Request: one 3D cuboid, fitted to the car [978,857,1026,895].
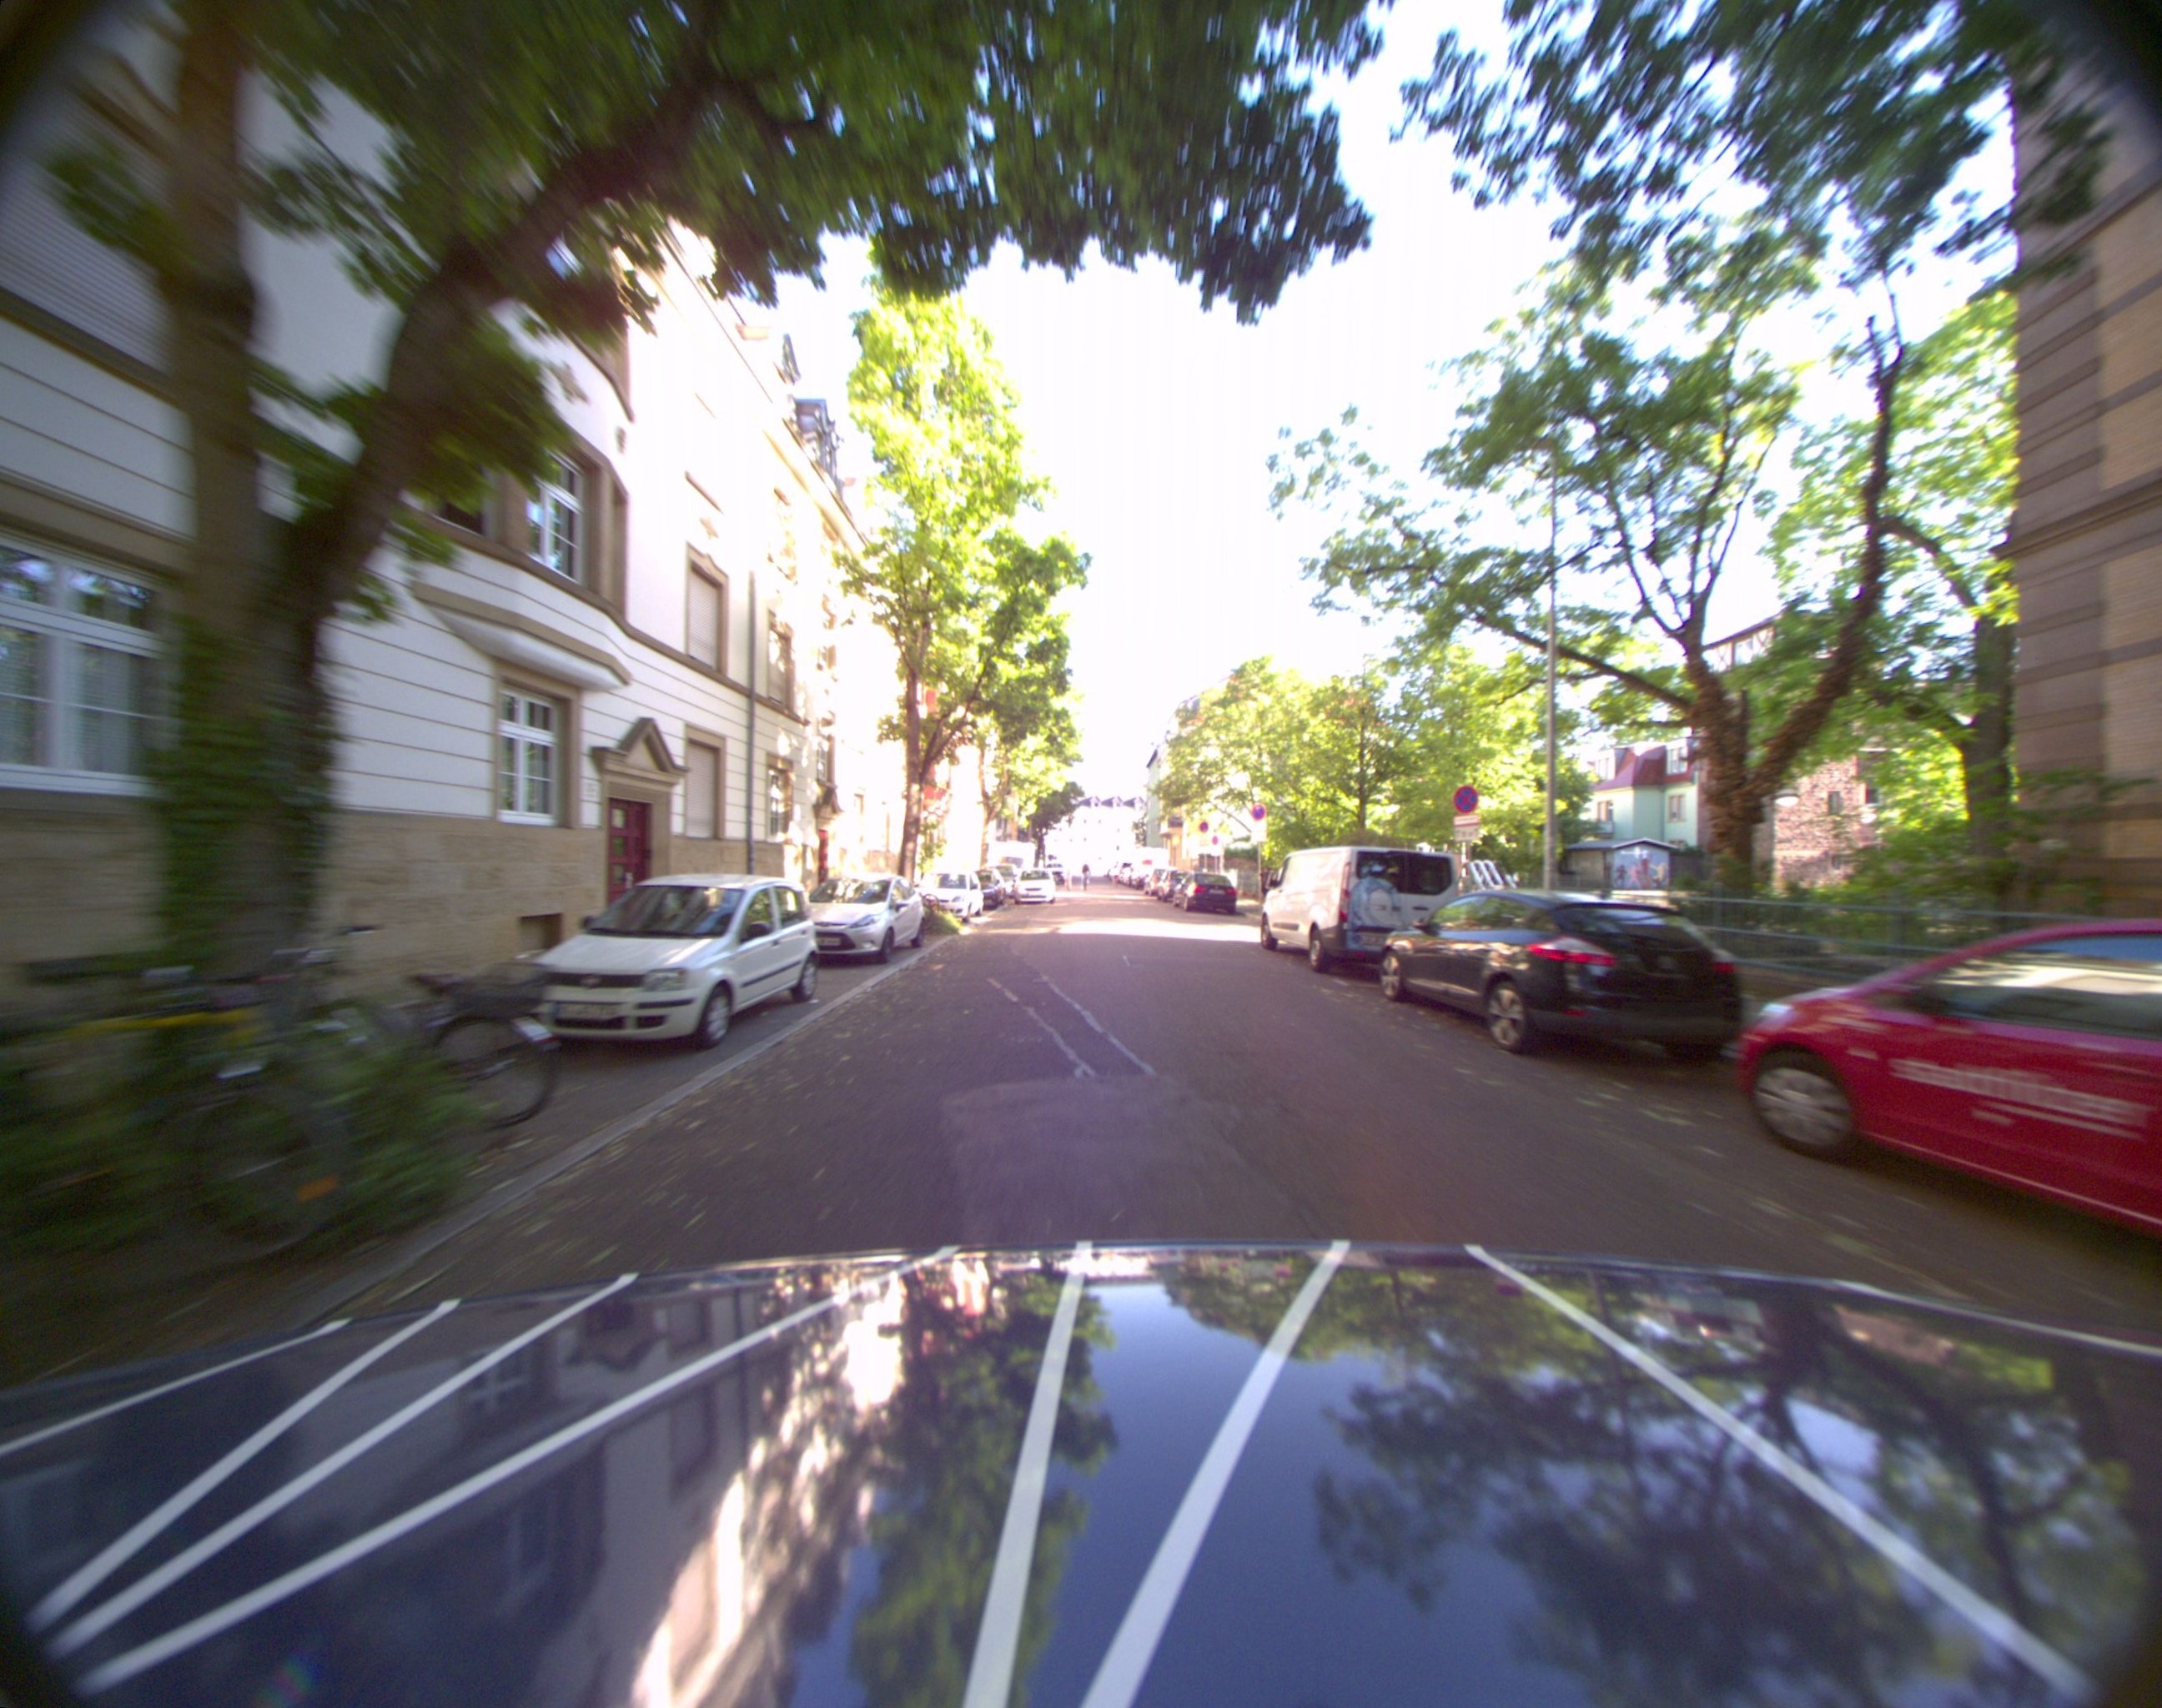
[{"bbox_3d":[-3.795,1.040,37.234,1.890,1.706,4.943,1,0,-1],"label":"car"}]

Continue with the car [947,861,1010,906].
[{"bbox_3d":[-3.797,1.059,28.832,1.791,1.505,4.459,0,0,-1],"label":"car"}]

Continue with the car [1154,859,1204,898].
[{"bbox_3d":[4.370,1.063,34.307,1.680,1.563,4.152,3,0,1],"label":"car"}]

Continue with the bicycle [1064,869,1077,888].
[{"bbox_3d":[-0.613,1.431,45.085,0.707,1.039,1.857,-3,0,-1],"label":"bicycle"}]

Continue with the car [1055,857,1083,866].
[{"bbox_3d":[-2.030,1.313,128.747,4.493,1.498,1.944,0,0,-6],"label":"car"}]

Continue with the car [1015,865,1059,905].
[{"bbox_3d":[-1.818,1.244,32.152,1.683,1.535,3.800,-1,0,-1],"label":"car"}]

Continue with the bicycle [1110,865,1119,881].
[{"bbox_3d":[2.375,1.316,53.803,0.666,1.071,1.685,0,0,2],"label":"bicycle"}]

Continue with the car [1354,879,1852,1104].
[{"bbox_3d":[4.711,1.098,7.961,2.006,1.449,4.606,3,0,0],"label":"car"}]

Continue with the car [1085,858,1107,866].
[{"bbox_3d":[2.512,1.345,129.352,3.613,1.440,1.553,0,1,-8],"label":"car"}]

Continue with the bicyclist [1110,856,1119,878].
[{"bbox_3d":[2.362,0.906,53.658,0.653,1.500,0.625,0,0,2],"label":"bicyclist"}]

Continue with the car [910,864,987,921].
[{"bbox_3d":[-3.843,1.073,22.610,1.601,1.479,3.748,1,0,0],"label":"car"}]

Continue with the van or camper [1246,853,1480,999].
[{"bbox_3d":[4.582,1.016,13.477,1.927,1.968,5.461,3,0,-1],"label":"van or camper"}]

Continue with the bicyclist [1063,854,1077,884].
[{"bbox_3d":[-0.648,0.880,45.048,0.716,1.679,0.981,-2,1,0],"label":"bicyclist"}]

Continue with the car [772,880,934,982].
[{"bbox_3d":[-3.895,1.250,13.712,1.626,1.386,4.157,1,0,0],"label":"car"}]

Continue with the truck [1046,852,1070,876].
[{"bbox_3d":[-1.879,0.826,63.808,1.833,1.937,5.541,0,0,0],"label":"truck"}]

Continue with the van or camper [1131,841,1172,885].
[{"bbox_3d":[4.664,0.580,51.355,2.134,2.753,5.851,2,0,0],"label":"van or camper"}]

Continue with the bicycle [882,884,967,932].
[{"bbox_3d":[-3.899,1.338,18.997,1.974,1.066,0.599,2,0,1],"label":"bicycle"}]

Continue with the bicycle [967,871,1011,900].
[{"bbox_3d":[-4.054,1.392,33.376,1.815,1.160,0.569,3,0,-1],"label":"bicycle"}]

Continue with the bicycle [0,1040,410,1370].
[{"bbox_3d":[-3.871,1.323,3.033,1.720,0.944,0.733,1,0,0],"label":"bicycle"}]

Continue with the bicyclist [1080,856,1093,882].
[{"bbox_3d":[0.327,0.922,46.069,0.757,1.556,0.981,-1,0,-2],"label":"bicyclist"}]

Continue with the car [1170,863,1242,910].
[{"bbox_3d":[4.488,1.127,28.009,1.718,1.387,4.779,4,0,-1],"label":"car"}]

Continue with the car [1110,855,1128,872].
[{"bbox_3d":[4.413,1.139,88.868,1.776,1.832,4.415,2,0,-2],"label":"car"}]

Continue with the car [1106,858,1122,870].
[{"bbox_3d":[4.421,1.343,102.626,1.771,1.444,4.207,3,0,-1],"label":"car"}]

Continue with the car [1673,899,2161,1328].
[{"bbox_3d":[4.800,1.059,3.058,1.606,1.451,4.027,3,0,0],"label":"car"}]

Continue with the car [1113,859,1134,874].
[{"bbox_3d":[4.379,1.289,78.646,1.838,1.453,4.362,3,0,-1],"label":"car"}]

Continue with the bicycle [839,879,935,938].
[{"bbox_3d":[-4.442,1.247,17.515,1.974,1.222,0.760,2,0,1],"label":"bicycle"}]

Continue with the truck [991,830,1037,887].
[{"bbox_3d":[-3.760,0.246,43.640,2.079,2.951,6.108,3,0,-1],"label":"truck"}]

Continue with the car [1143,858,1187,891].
[{"bbox_3d":[4.421,1.059,40.512,1.785,1.581,4.468,3,0,0],"label":"car"}]

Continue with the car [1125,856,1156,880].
[{"bbox_3d":[4.439,1.034,57.127,1.880,1.675,4.969,2,0,0],"label":"car"}]

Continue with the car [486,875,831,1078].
[{"bbox_3d":[-3.927,1.017,7.777,1.524,1.502,3.543,1,0,1],"label":"car"}]

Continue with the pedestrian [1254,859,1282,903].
[{"bbox_3d":[6.753,0.969,27.468,0.883,1.568,0.529,0,1,1],"label":"pedestrian"}]

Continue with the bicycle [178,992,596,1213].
[{"bbox_3d":[-3.804,1.349,4.255,1.774,1.033,0.606,0,0,0],"label":"bicycle"}]

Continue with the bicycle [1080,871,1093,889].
[{"bbox_3d":[0.332,1.562,46.076,0.741,1.054,1.857,-1,1,-2],"label":"bicycle"}]

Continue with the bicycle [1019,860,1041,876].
[{"bbox_3d":[-4.249,1.198,63.550,1.763,1.297,0.586,0,0,-2],"label":"bicycle"}]

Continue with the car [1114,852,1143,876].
[{"bbox_3d":[4.508,0.938,73.002,2.258,2.156,5.242,3,0,-2],"label":"car"}]

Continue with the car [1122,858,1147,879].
[{"bbox_3d":[4.343,1.150,62.198,1.639,1.543,4.088,1,0,-1],"label":"car"}]
